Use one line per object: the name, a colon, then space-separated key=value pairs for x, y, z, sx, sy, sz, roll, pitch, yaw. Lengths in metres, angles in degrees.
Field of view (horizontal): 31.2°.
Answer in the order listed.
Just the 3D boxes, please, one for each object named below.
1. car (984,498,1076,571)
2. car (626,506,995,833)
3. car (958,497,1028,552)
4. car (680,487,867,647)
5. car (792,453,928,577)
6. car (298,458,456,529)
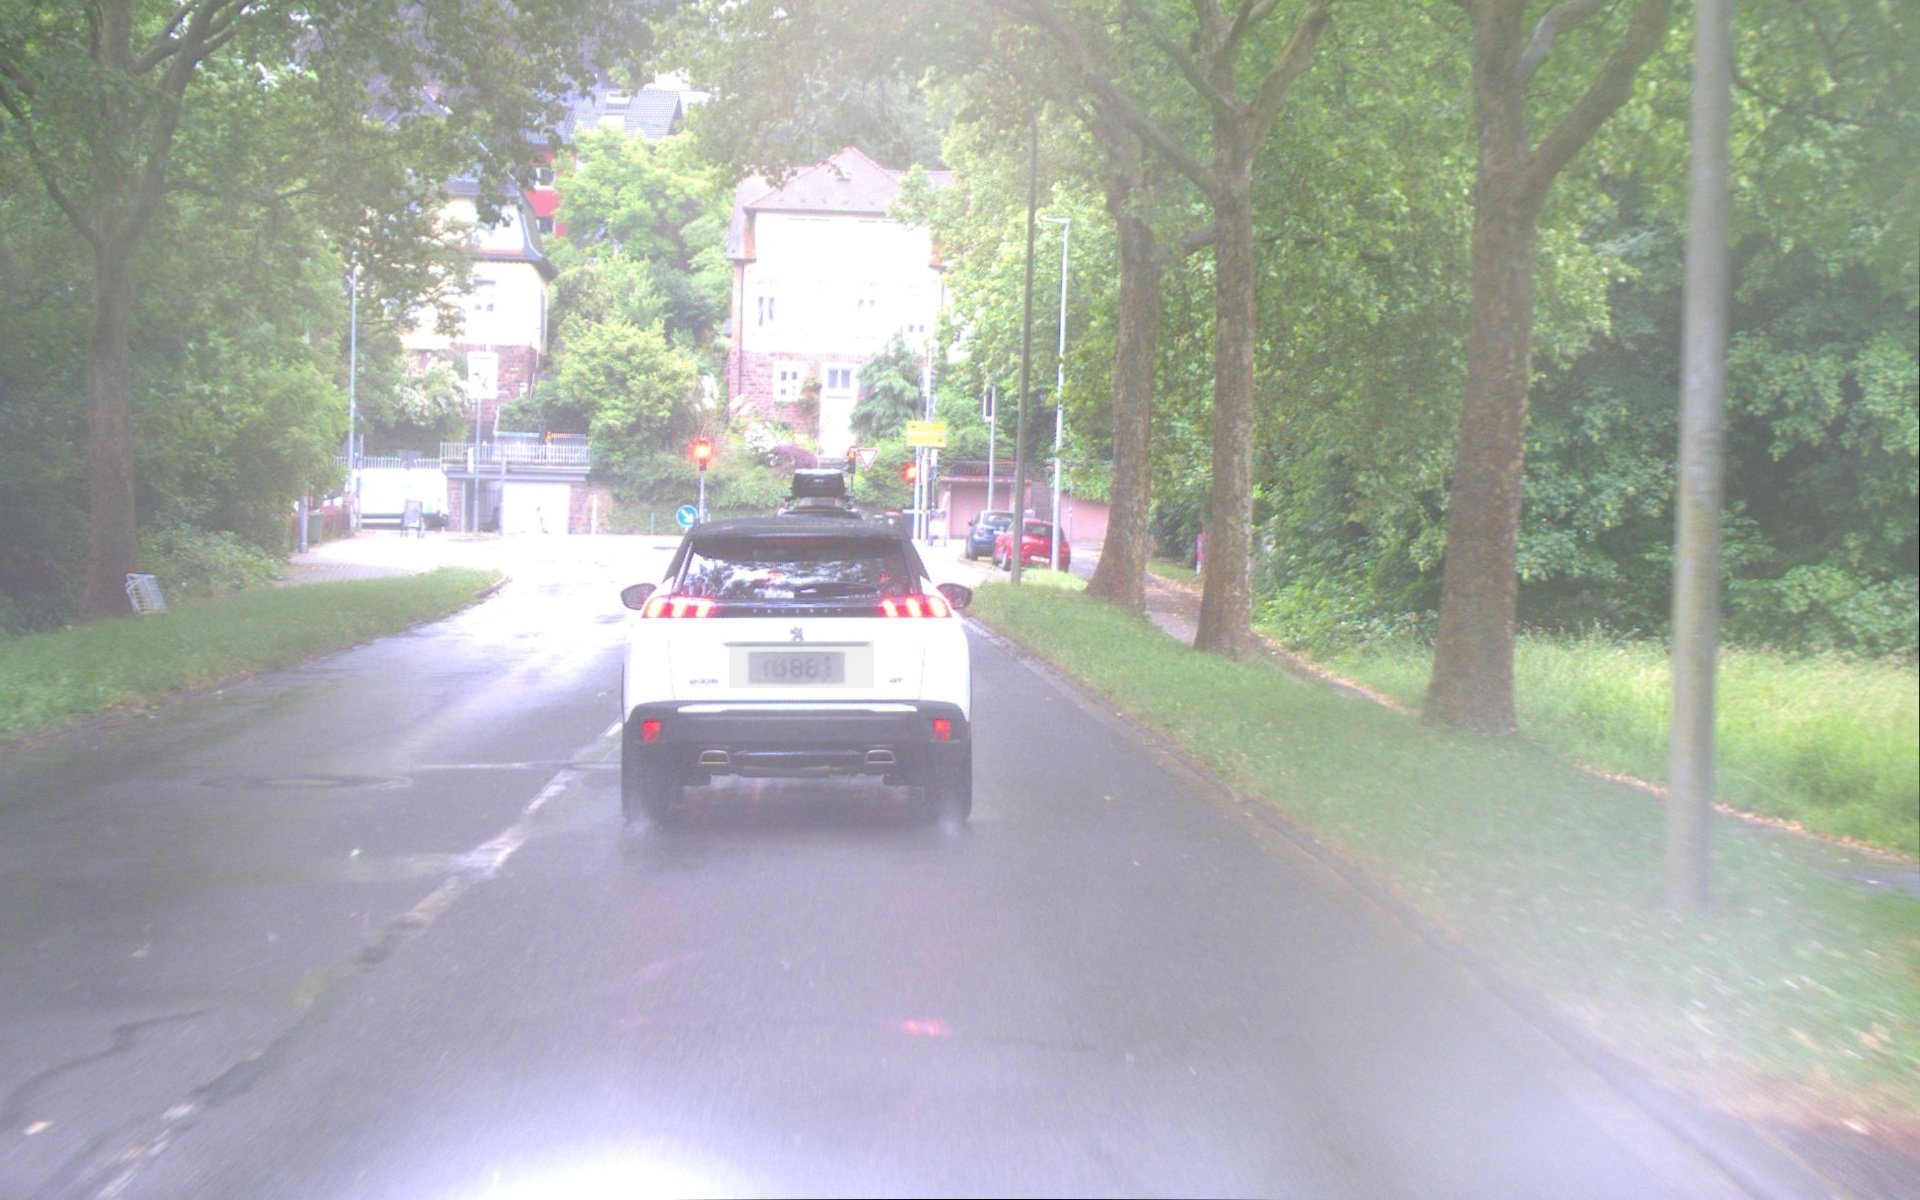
car: x=1.842 y=-1.772 z=91.856 sx=1.819 sy=1.512 sz=3.744 roll=8 pitch=3 yaw=-6
car: x=-0.838 y=0.276 z=18.639 sx=1.752 sy=1.530 sz=4.368 roll=1 pitch=2 yaw=-3
car: x=0.954 y=-2.240 z=101.525 sx=1.749 sy=1.486 sz=3.600 roll=4 pitch=1 yaw=-3
car: x=-2.018 y=-0.413 z=37.796 sx=1.831 sy=1.451 sz=4.659 roll=4 pitch=3 yaw=-3
car: x=-1.580 y=-1.339 z=52.568 sx=1.760 sy=1.705 sz=4.602 roll=3 pitch=3 yaw=-5
car: x=-22.514 y=-4.105 z=133.000 sx=5.660 sy=2.485 sz=2.316 roll=2 pitch=0 yaw=-2
